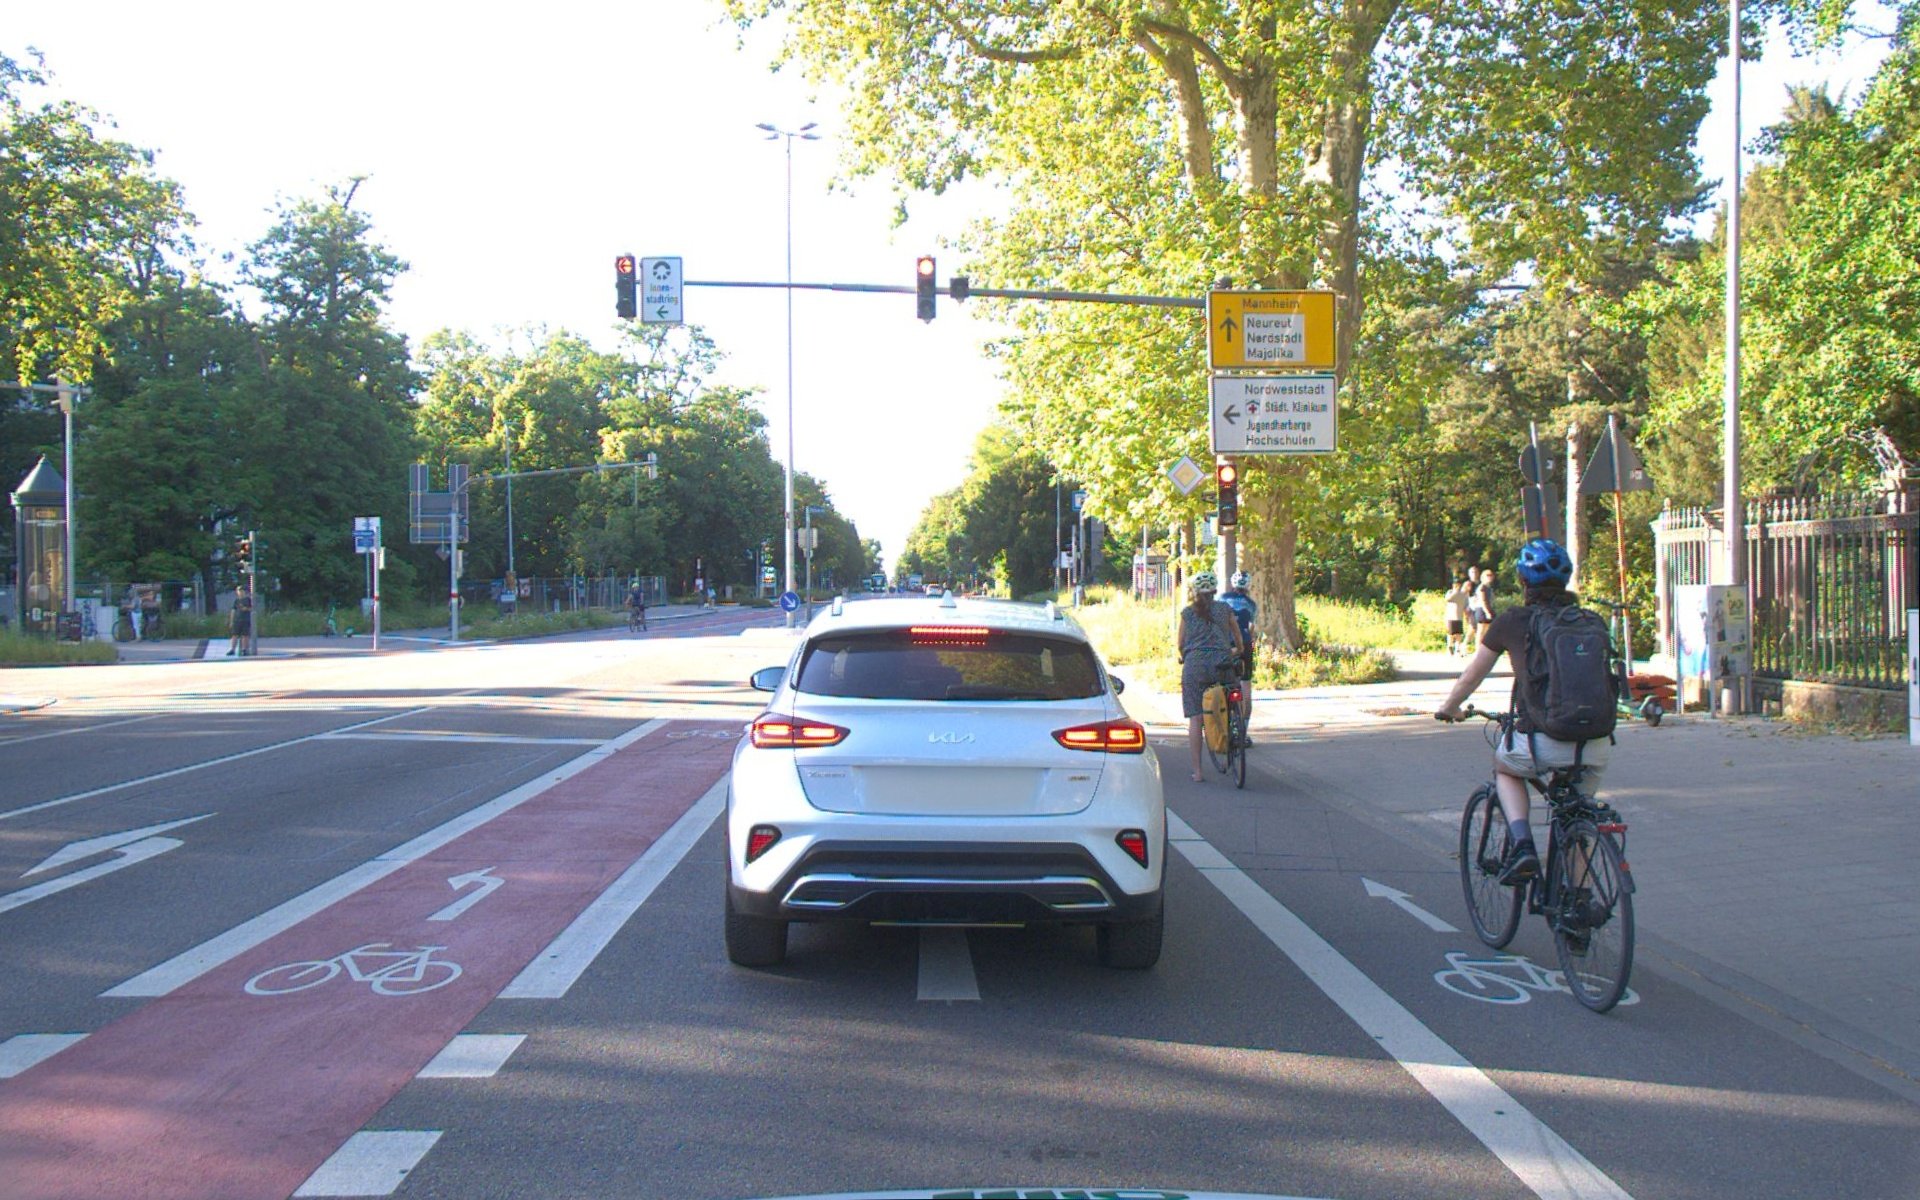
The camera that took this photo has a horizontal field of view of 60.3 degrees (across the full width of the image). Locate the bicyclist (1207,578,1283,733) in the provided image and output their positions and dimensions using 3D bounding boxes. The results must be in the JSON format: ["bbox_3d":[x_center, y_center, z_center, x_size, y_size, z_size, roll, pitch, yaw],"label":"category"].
[{"bbox_3d":[2.873,0.551,16.713,0.543,1.504,0.716,-3,0,-2],"label":"bicyclist"}]

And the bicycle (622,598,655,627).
[{"bbox_3d":[-11.776,0.462,60.645,0.650,1.006,2.504,-1,1,1],"label":"bicycle"}]

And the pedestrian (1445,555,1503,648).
[{"bbox_3d":[10.197,0.025,32.822,0.802,1.802,0.831,-1,0,-8],"label":"pedestrian"}]

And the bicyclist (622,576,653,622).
[{"bbox_3d":[-11.788,-0.043,60.537,0.857,1.636,1.188,-1,0,1],"label":"bicyclist"}]

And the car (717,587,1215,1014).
[{"bbox_3d":[-0.046,0.700,7.895,1.785,1.506,3.935,0,1,-2],"label":"car"}]

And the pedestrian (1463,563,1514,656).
[{"bbox_3d":[10.018,0.165,31.370,0.676,1.729,0.643,-1,0,-7],"label":"pedestrian"}]

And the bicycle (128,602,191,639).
[{"bbox_3d":[-25.924,0.669,53.557,1.826,1.168,0.290,0,0,-8],"label":"bicycle"}]

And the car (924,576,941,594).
[{"bbox_3d":[-3.163,-1.709,191.536,1.953,2.049,3.999,-1,1,-1],"label":"car"}]

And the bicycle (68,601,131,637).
[{"bbox_3d":[-27.983,0.615,53.815,1.823,1.168,0.443,0,0,1],"label":"bicycle"}]

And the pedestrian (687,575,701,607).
[{"bbox_3d":[-16.848,-0.565,104.829,0.627,2.049,0.754,0,0,12],"label":"pedestrian"}]

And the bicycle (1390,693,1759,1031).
[{"bbox_3d":[2.397,0.966,6.758,0.655,1.027,2.080,1,1,-2],"label":"bicycle"}]

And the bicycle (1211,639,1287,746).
[{"bbox_3d":[2.899,0.909,16.684,0.393,0.973,1.550,-3,0,-2],"label":"bicycle"}]

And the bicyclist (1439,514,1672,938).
[{"bbox_3d":[2.403,0.484,6.743,0.652,1.630,0.720,1,0,-2],"label":"bicyclist"}]

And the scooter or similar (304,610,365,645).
[{"bbox_3d":[-21.101,0.910,55.843,0.697,1.144,1.916,0,0,32],"label":"scooter or similar"}]

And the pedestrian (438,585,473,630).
[{"bbox_3d":[-19.024,0.277,62.360,1.067,1.631,0.999,-1,0,-7],"label":"pedestrian"}]

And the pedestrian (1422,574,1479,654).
[{"bbox_3d":[9.578,0.273,32.354,0.802,1.544,0.915,0,0,-4],"label":"pedestrian"}]

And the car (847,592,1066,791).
[{"bbox_3d":[-0.098,0.706,14.762,1.694,1.509,3.515,-1,1,-3],"label":"car"}]

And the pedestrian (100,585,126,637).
[{"bbox_3d":[-27.376,0.364,53.445,0.616,1.671,0.445,0,0,-5],"label":"pedestrian"}]

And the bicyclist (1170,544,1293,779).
[{"bbox_3d":[2.202,0.477,13.528,0.738,1.827,1.164,1,0,-2],"label":"bicyclist"}]

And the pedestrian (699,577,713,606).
[{"bbox_3d":[-16.083,-0.548,104.881,0.769,1.817,0.751,0,0,0],"label":"pedestrian"}]

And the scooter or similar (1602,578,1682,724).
[{"bbox_3d":[6.575,0.471,15.974,0.223,1.350,1.171,-1,0,-2],"label":"scooter or similar"}]

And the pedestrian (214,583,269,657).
[{"bbox_3d":[-20.399,0.558,46.991,0.974,2.049,1.191,0,0,4],"label":"pedestrian"}]

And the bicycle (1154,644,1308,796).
[{"bbox_3d":[2.186,0.935,13.719,0.742,1.031,2.568,1,1,-2],"label":"bicycle"}]
